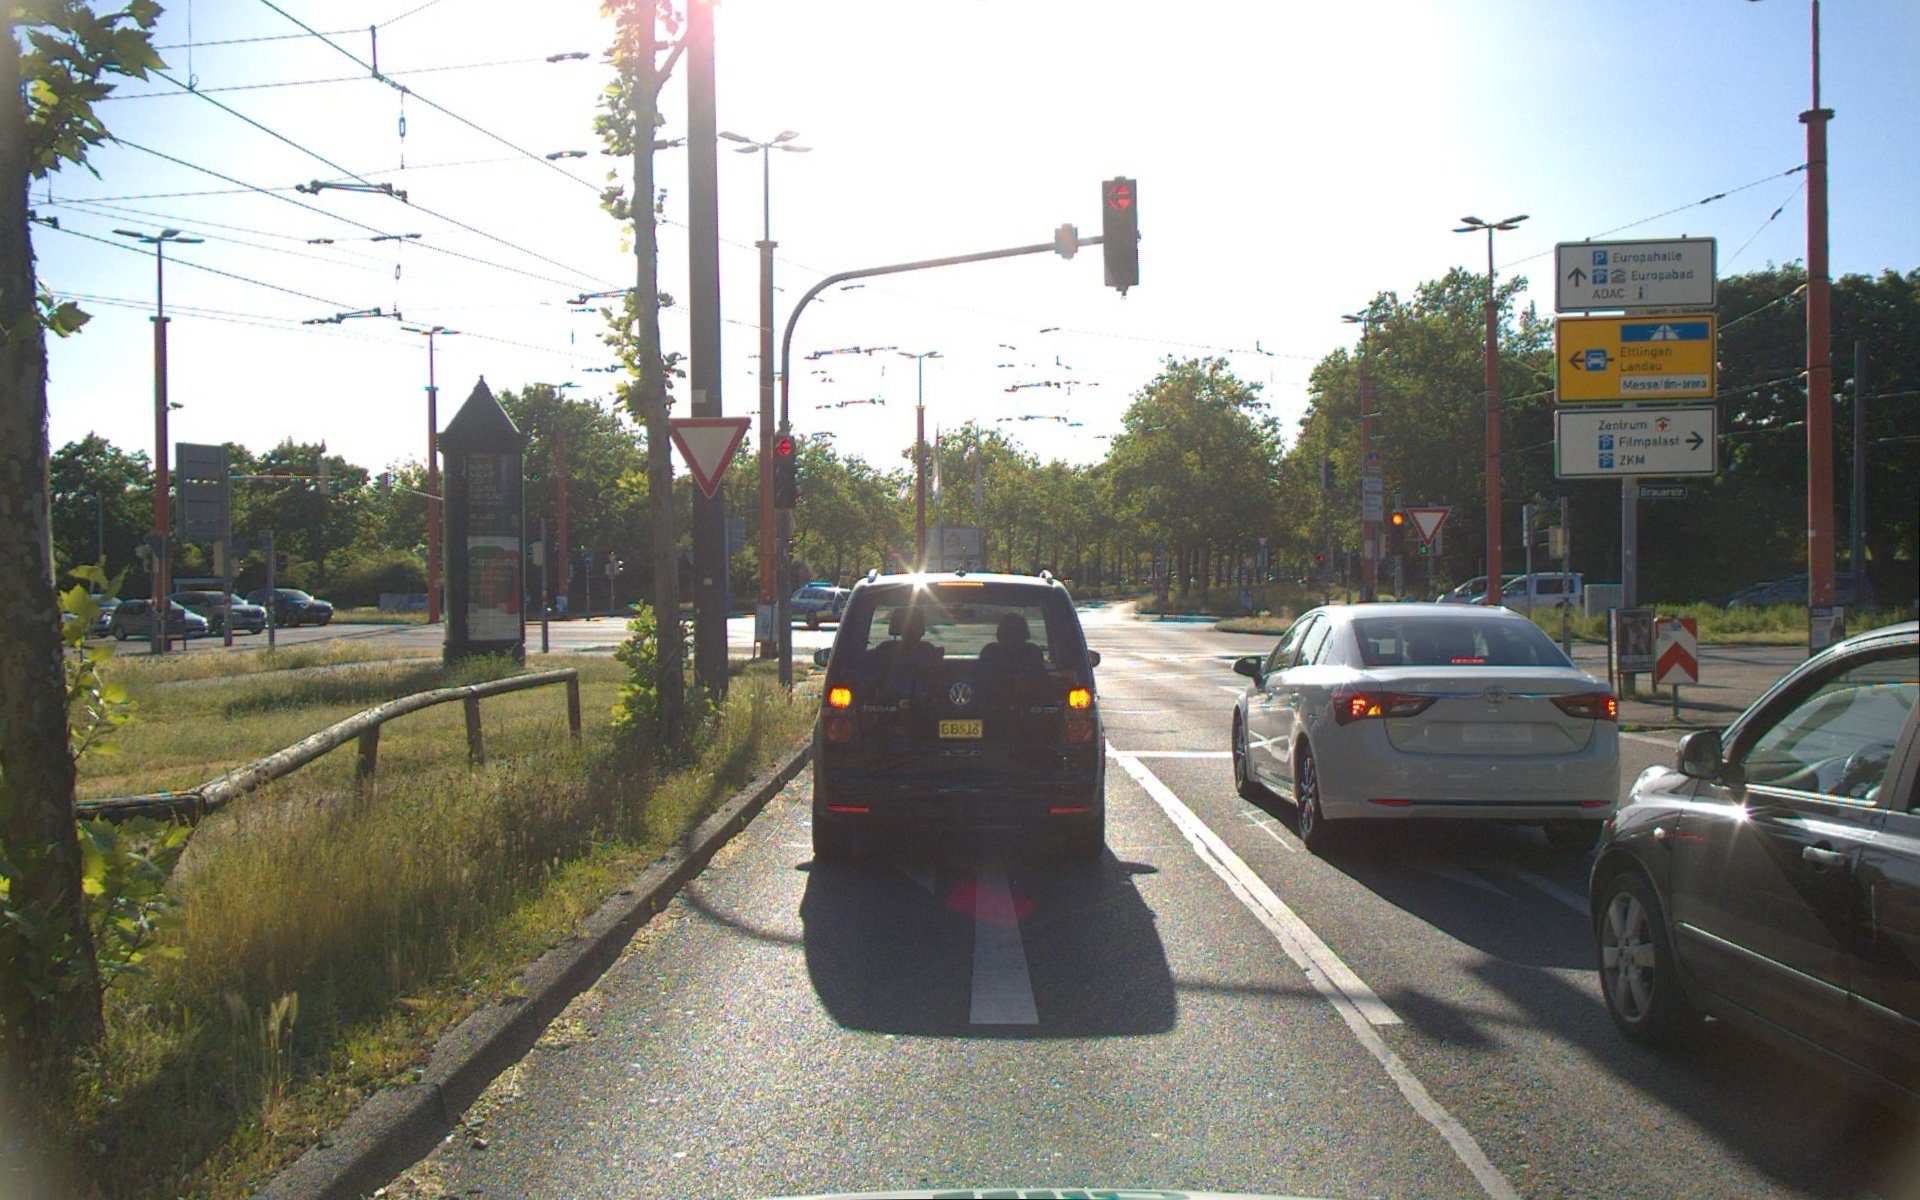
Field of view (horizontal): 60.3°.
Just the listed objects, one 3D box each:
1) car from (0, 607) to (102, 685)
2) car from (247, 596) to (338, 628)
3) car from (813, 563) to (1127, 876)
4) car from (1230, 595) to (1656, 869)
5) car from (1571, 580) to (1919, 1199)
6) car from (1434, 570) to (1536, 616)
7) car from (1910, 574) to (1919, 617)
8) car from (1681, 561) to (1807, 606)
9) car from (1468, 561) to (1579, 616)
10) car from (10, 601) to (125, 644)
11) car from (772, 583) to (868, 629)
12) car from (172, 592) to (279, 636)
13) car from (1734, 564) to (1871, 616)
[{"bbox_3d":[-20.385,0.947,35.491,1.769,1.549,4.329,0,0,-1],"label":"car"},{"bbox_3d":[-29.290,0.502,72.569,3.913,1.353,1.694,0,0,31],"label":"car"},{"bbox_3d":[0.021,0.623,10.739,1.666,1.650,3.896,0,0,-1],"label":"car"},{"bbox_3d":[2.971,0.712,11.102,1.685,1.463,4.198,1,0,1],"label":"car"},{"bbox_3d":[3.167,0.722,4.545,1.620,1.526,3.614,1,0,0],"label":"car"},{"bbox_3d":[20.506,-0.279,64.590,3.570,1.684,1.679,1,0,25],"label":"car"},{"bbox_3d":[34.949,-0.129,56.853,3.887,1.466,1.685,1,0,27],"label":"car"},{"bbox_3d":[28.528,-0.598,60.254,4.040,1.537,1.821,1,0,26],"label":"car"},{"bbox_3d":[20.708,-0.437,60.778,3.754,1.923,1.763,1,0,22],"label":"car"},{"bbox_3d":[-34.611,0.848,64.148,4.091,1.640,1.867,0,0,25],"label":"car"},{"bbox_3d":[-5.366,0.196,62.916,1.784,1.685,4.060,0,0,-37],"label":"car"},{"bbox_3d":[-28.923,0.528,65.102,3.913,1.673,1.996,0,0,31],"label":"car"},{"bbox_3d":[28.760,-0.342,56.596,4.097,1.673,1.758,1,0,26],"label":"car"}]
